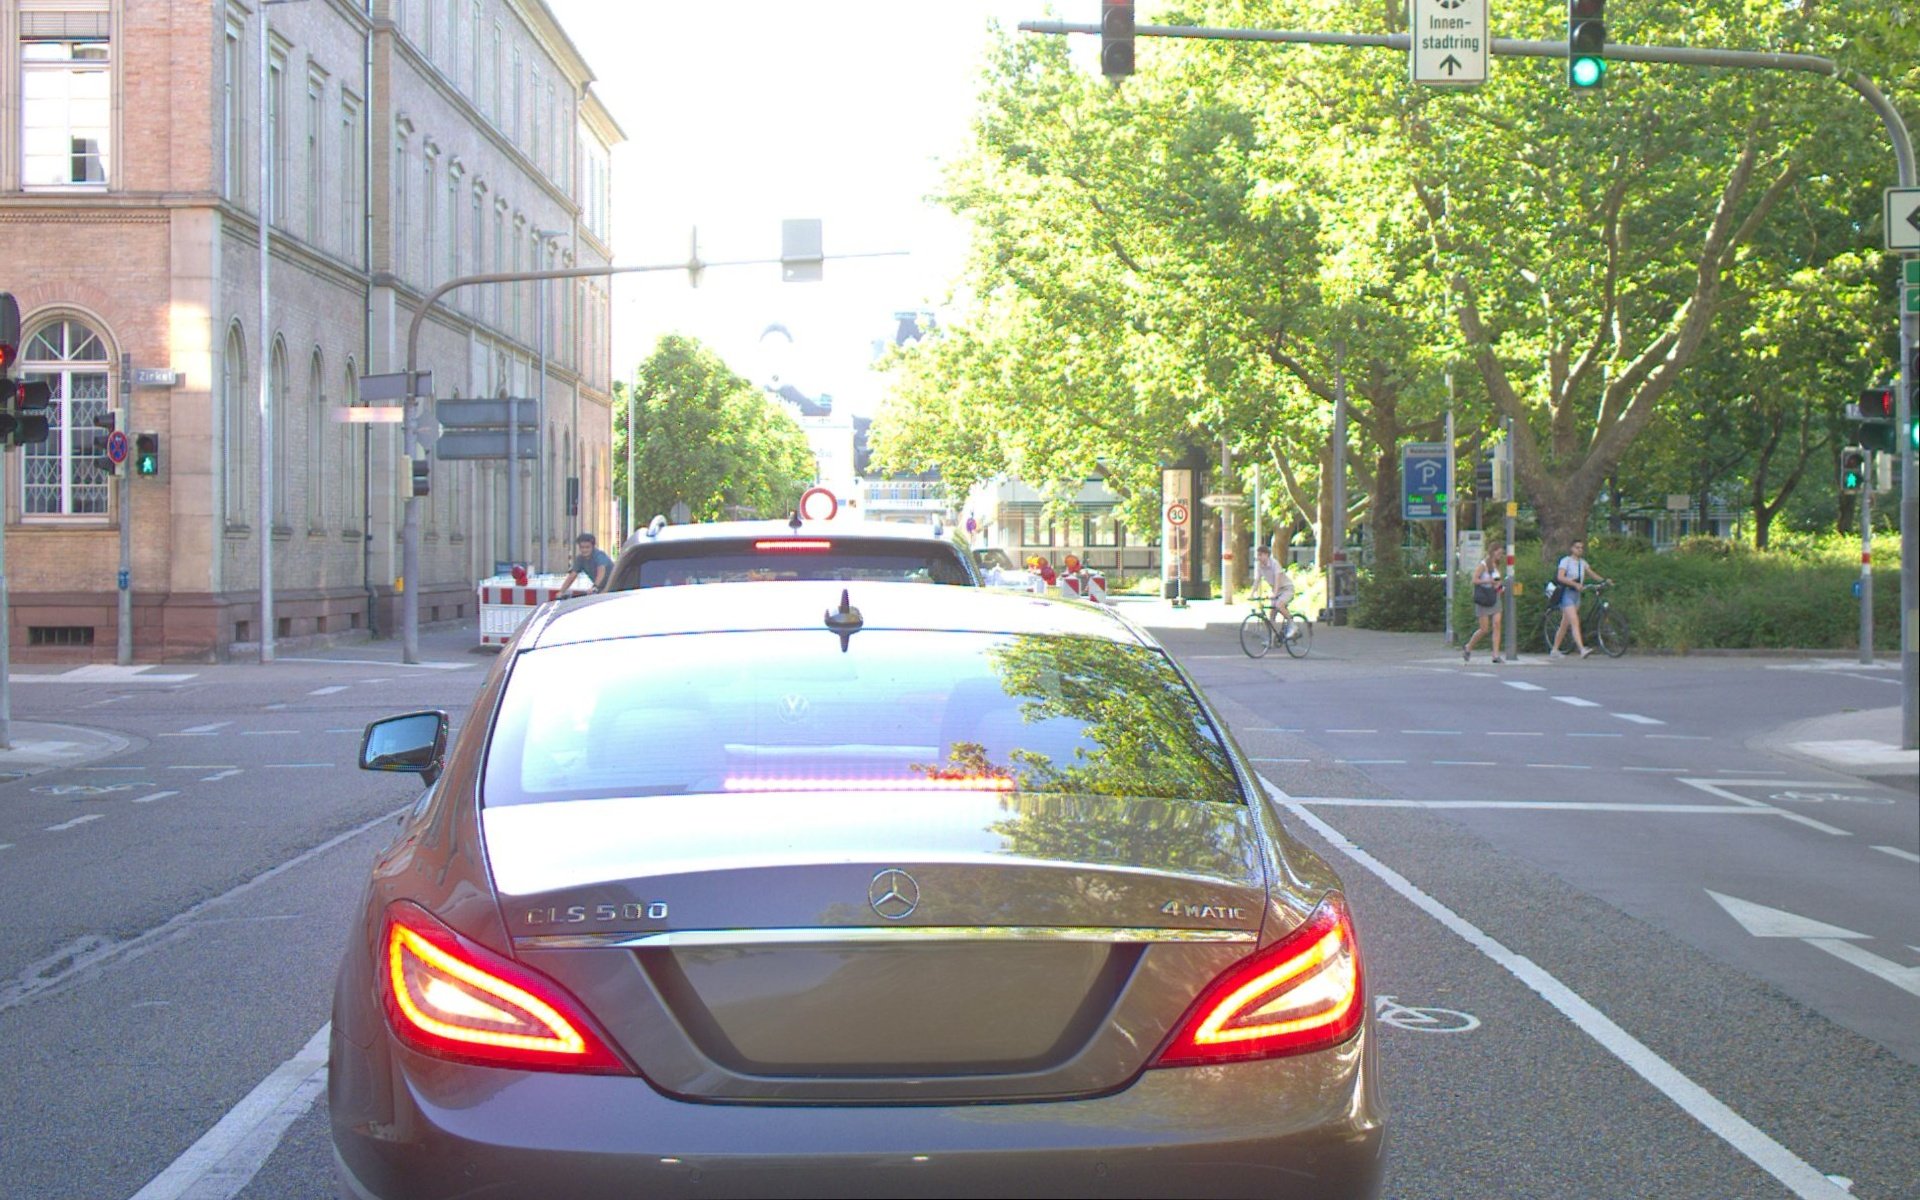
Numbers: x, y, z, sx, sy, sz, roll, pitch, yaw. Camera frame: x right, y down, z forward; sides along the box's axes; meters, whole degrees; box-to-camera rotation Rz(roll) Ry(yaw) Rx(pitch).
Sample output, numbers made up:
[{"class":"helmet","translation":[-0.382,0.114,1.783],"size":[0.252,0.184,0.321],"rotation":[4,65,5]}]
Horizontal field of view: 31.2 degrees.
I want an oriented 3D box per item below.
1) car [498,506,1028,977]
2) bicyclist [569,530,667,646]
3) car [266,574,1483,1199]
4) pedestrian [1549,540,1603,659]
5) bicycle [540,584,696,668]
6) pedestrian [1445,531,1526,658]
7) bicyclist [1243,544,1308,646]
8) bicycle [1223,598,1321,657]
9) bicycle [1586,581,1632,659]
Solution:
[{"class":"car","translation":[-0.640,0.466,13.756],"size":[1.809,1.607,4.000],"rotation":[0,1,1]},{"class":"bicyclist","translation":[-4.451,-0.160,44.711],"size":[0.950,1.495,0.822],"rotation":[0,1,-40]},{"class":"car","translation":[-0.366,0.678,7.469],"size":[1.842,1.424,4.518],"rotation":[1,1,-6]},{"class":"pedestrian","translation":[8.886,-0.017,49.549],"size":[0.683,1.691,0.970],"rotation":[1,0,14]},{"class":"bicycle","translation":[-4.436,0.333,44.713],"size":[1.957,1.059,0.706],"rotation":[0,1,-41]},{"class":"pedestrian","translation":[7.567,-0.076,49.537],"size":[0.732,1.802,0.909],"rotation":[0,-1,-30]},{"class":"bicyclist","translation":[4.903,-0.080,53.391],"size":[0.649,1.553,0.805],"rotation":[1,1,37]},{"class":"bicycle","translation":[4.851,0.421,53.305],"size":[0.549,0.888,1.863],"rotation":[1,1,39]},{"class":"bicycle","translation":[9.340,0.282,49.445],"size":[0.524,1.096,1.740],"rotation":[1,1,14]}]
